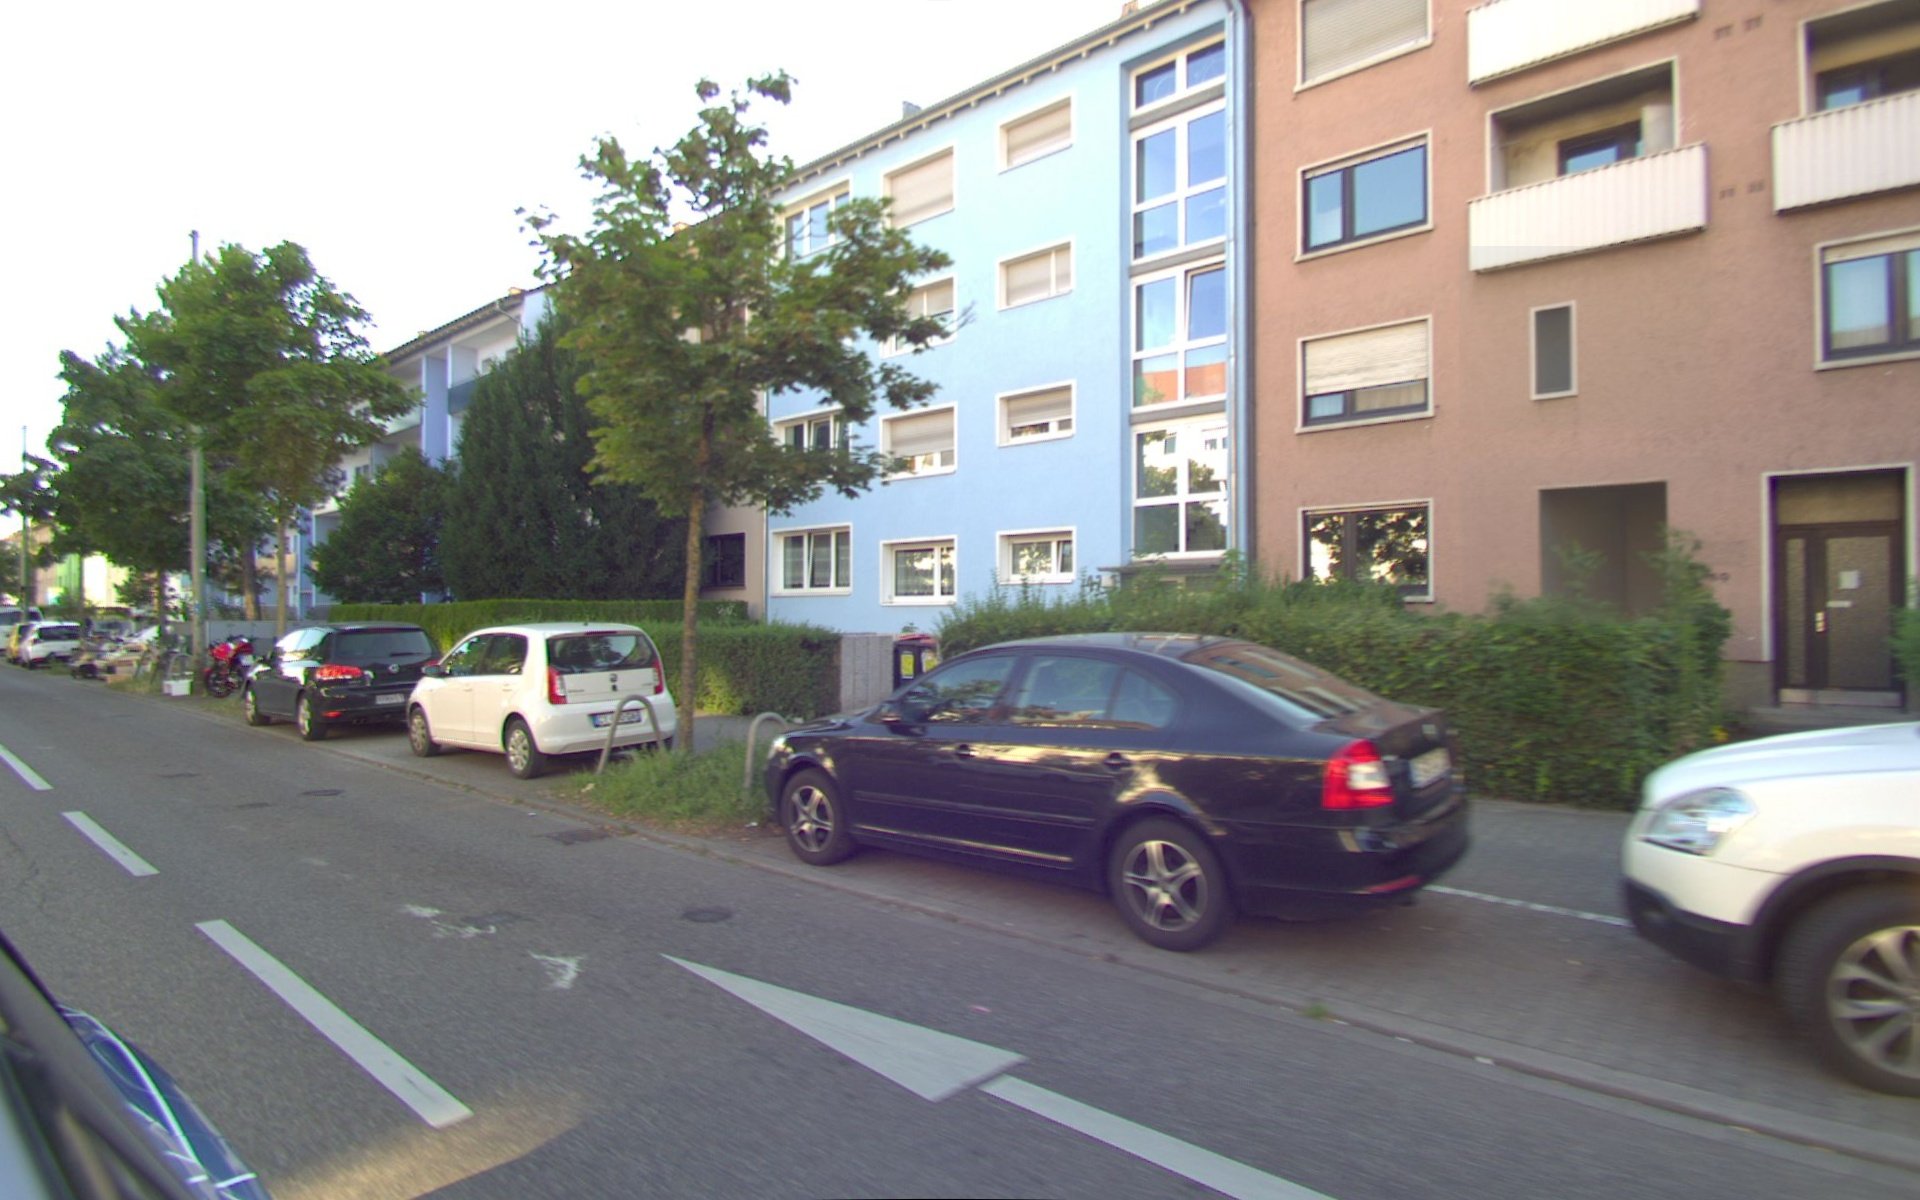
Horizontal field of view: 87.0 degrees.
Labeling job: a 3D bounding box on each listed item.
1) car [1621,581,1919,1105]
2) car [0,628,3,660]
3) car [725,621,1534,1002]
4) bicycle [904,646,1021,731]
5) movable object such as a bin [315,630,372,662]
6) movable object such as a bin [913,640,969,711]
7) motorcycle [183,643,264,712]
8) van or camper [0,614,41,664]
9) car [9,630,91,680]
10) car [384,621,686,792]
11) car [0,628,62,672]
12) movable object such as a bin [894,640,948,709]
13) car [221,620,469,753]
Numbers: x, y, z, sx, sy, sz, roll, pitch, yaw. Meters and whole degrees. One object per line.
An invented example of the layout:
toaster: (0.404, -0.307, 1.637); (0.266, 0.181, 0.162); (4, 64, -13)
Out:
car: (4.502, 0.715, 2.860); (4.184, 1.600, 1.758); (-1, -1, 42)
car: (-47.752, 2.125, 49.026); (3.956, 1.509, 1.784); (-2, -1, 43)
car: (0.734, 0.860, 6.109); (4.456, 1.459, 1.973); (-1, -2, 41)
bicycle: (0.030, 1.150, 13.379); (1.468, 1.058, 0.531); (-1, -2, 20)
movable object such as a bin: (-21.299, 1.583, 34.977); (1.060, 1.057, 1.446); (-2, -2, 41)
movable object such as a bin: (-0.299, 1.195, 16.185); (0.558, 1.096, 0.723); (-1, -2, 40)
motorcycle: (-13.502, 1.390, 18.536); (2.170, 1.145, 0.632); (-1, 0, 39)
van or camper: (-41.079, 1.665, 43.449); (4.861, 2.029, 1.786); (-1, -1, 40)
car: (-29.791, 1.762, 33.097); (3.881, 1.454, 1.662); (-2, -1, 43)
car: (-4.688, 0.996, 10.942); (3.640, 1.503, 1.574); (-1, 0, 41)
car: (-33.579, 1.775, 36.442); (3.490, 1.480, 1.557); (-2, -1, 43)
movable object such as a bin: (-0.647, 1.210, 16.693); (0.558, 1.096, 0.723); (-1, -2, 40)
car: (-8.696, 1.074, 14.154); (4.315, 1.529, 1.818); (-1, 0, 42)
